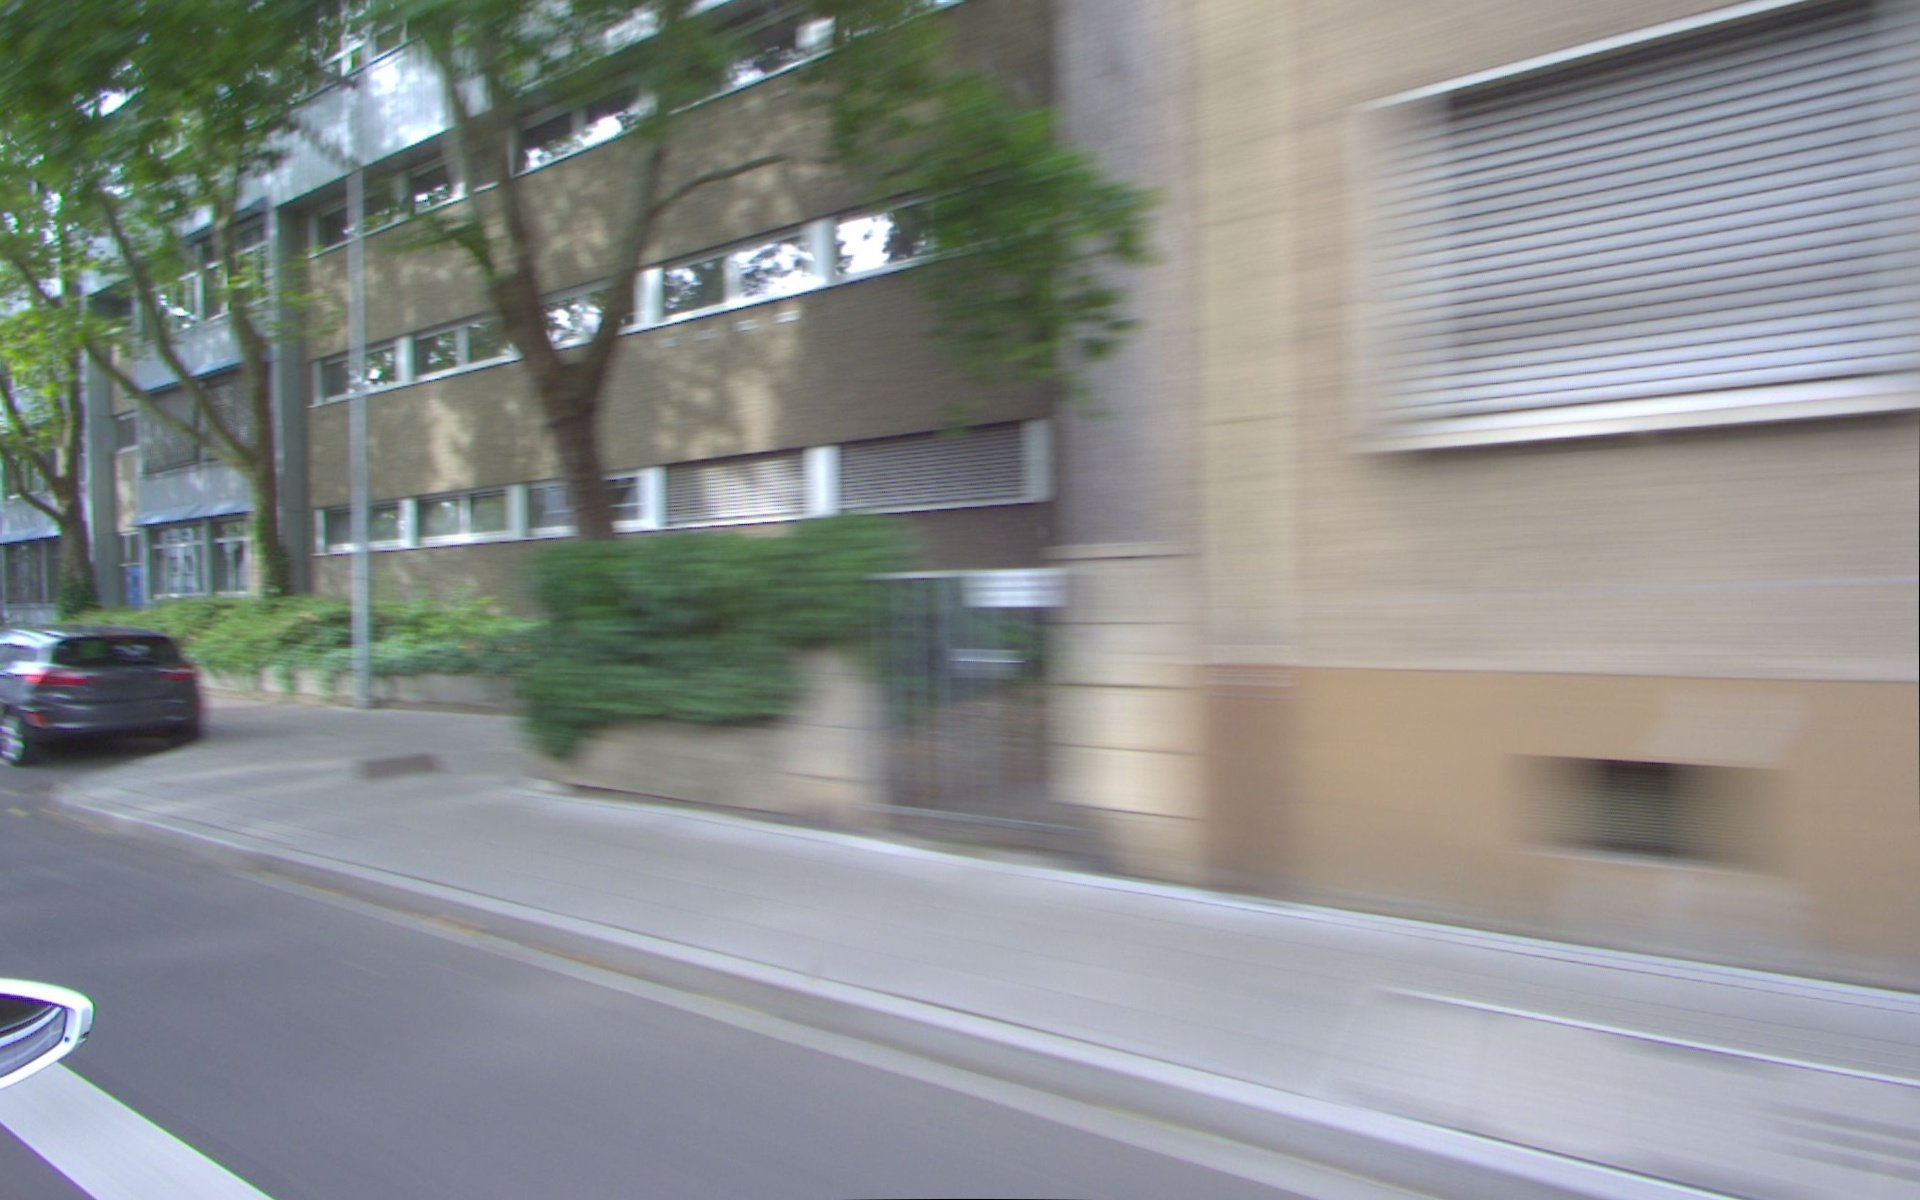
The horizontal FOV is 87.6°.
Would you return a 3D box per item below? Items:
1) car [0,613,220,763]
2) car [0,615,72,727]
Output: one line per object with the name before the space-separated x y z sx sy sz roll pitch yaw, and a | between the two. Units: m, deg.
car | -10.613 0.917 11.904 3.810 1.441 1.654 1 1 32
car | -14.689 0.977 14.542 3.889 1.441 1.654 1 1 32
